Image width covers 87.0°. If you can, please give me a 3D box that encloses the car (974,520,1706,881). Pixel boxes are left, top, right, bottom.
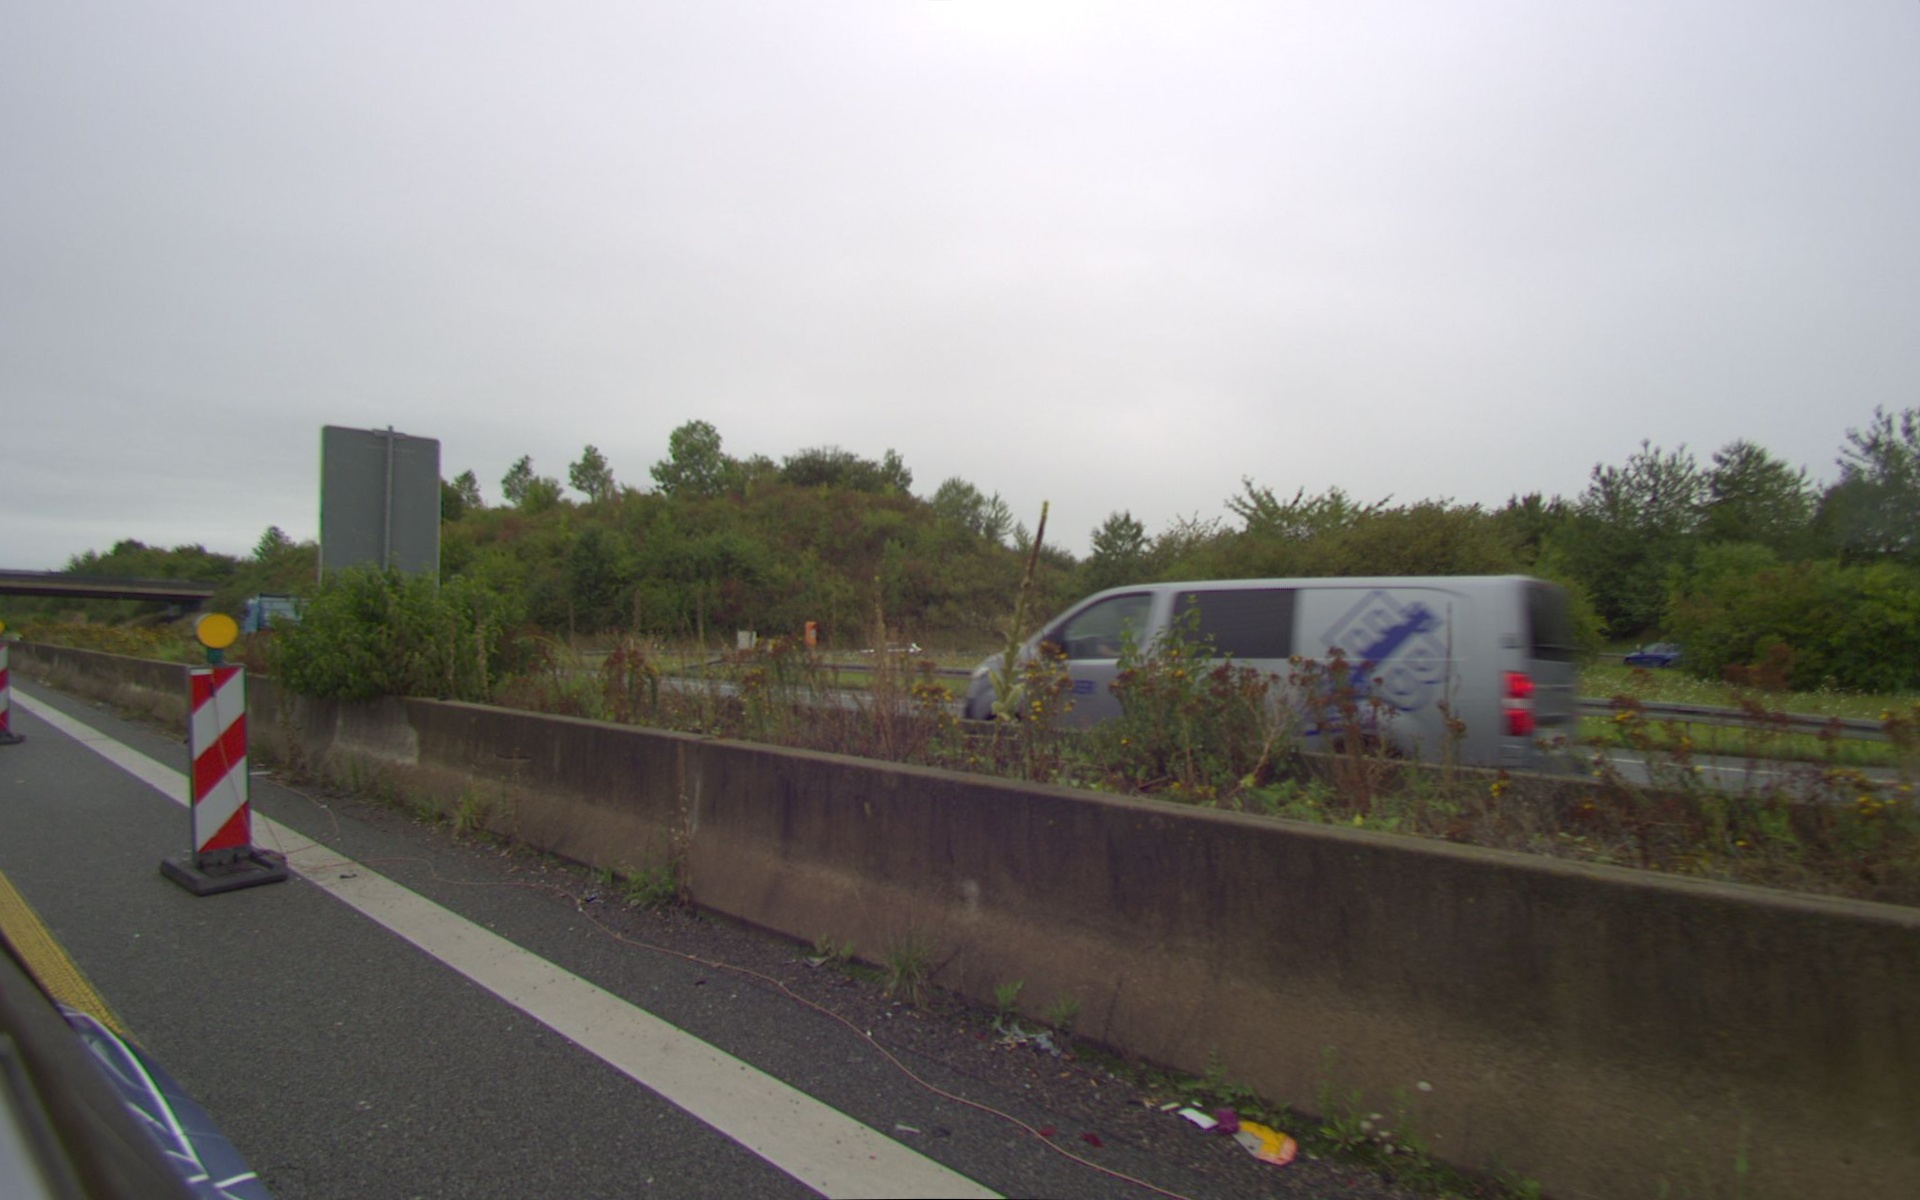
[{"bbox_3d":[2.633,0.600,8.140,5.254,2.029,1.748,-1,-1,43],"label":"car"}]

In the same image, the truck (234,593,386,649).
[{"bbox_3d":[-45.143,1.515,69.969,14.531,3.647,2.869,-1,-3,32],"label":"truck"}]

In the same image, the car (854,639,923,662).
[{"bbox_3d":[-4.530,3.200,63.829,3.930,1.414,1.927,1,-2,-22],"label":"car"}]
